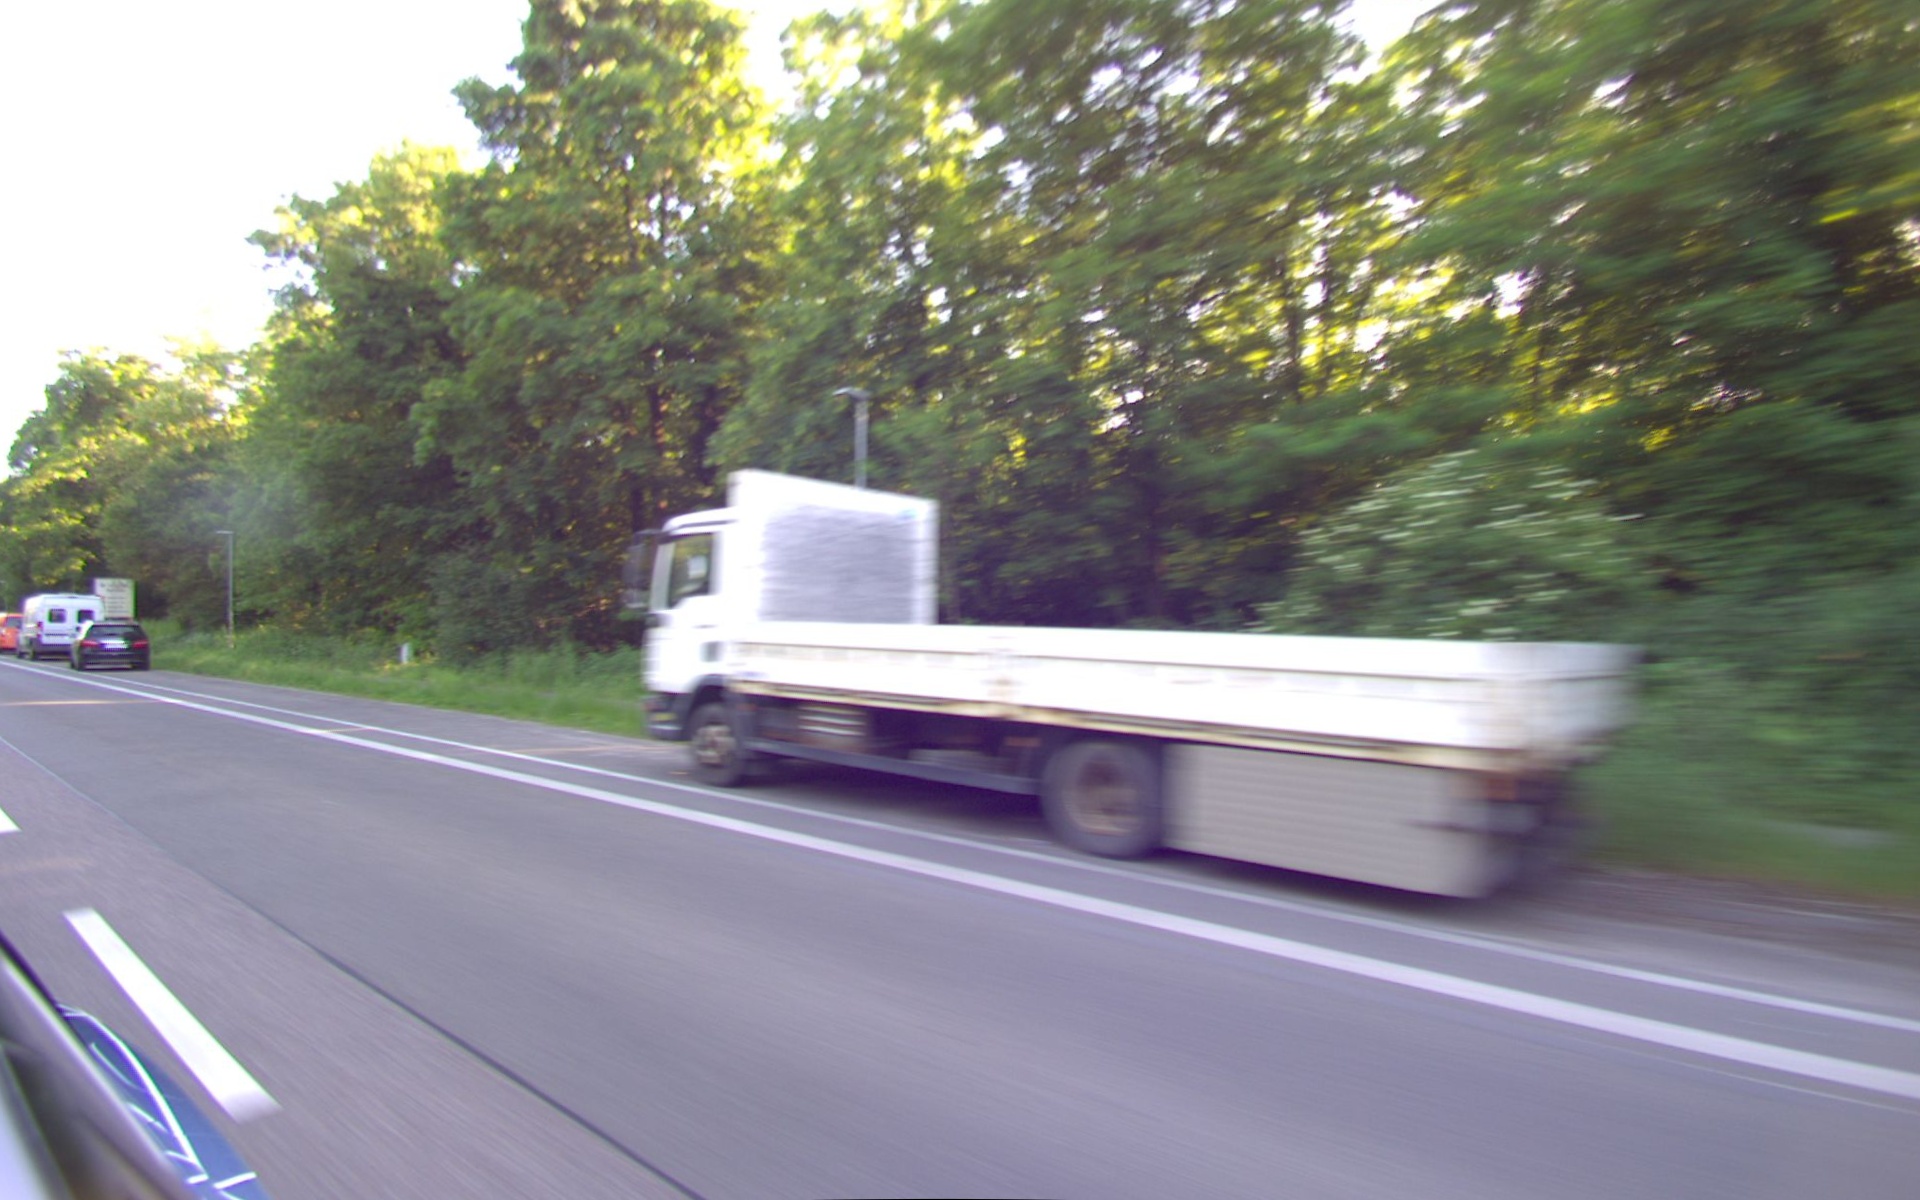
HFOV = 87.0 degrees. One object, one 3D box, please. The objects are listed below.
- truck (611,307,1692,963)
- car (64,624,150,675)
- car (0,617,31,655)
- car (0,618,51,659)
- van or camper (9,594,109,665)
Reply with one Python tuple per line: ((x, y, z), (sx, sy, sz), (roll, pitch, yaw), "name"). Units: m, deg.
((0.537, 0.217, 8.109), (8.420, 2.845, 2.456), (-1, -1, 41), "truck")
((-26.877, 1.503, 31.841), (1.763, 1.505, 4.003), (1, -2, -44), "car")
((-48.704, 1.810, 51.276), (4.142, 1.821, 1.973), (-1, -1, 41), "car")
((-43.996, 1.759, 47.144), (4.143, 1.821, 1.973), (-1, -1, 41), "car")
((-35.789, 1.152, 40.137), (5.982, 2.634, 2.224), (-1, -2, 41), "van or camper")
